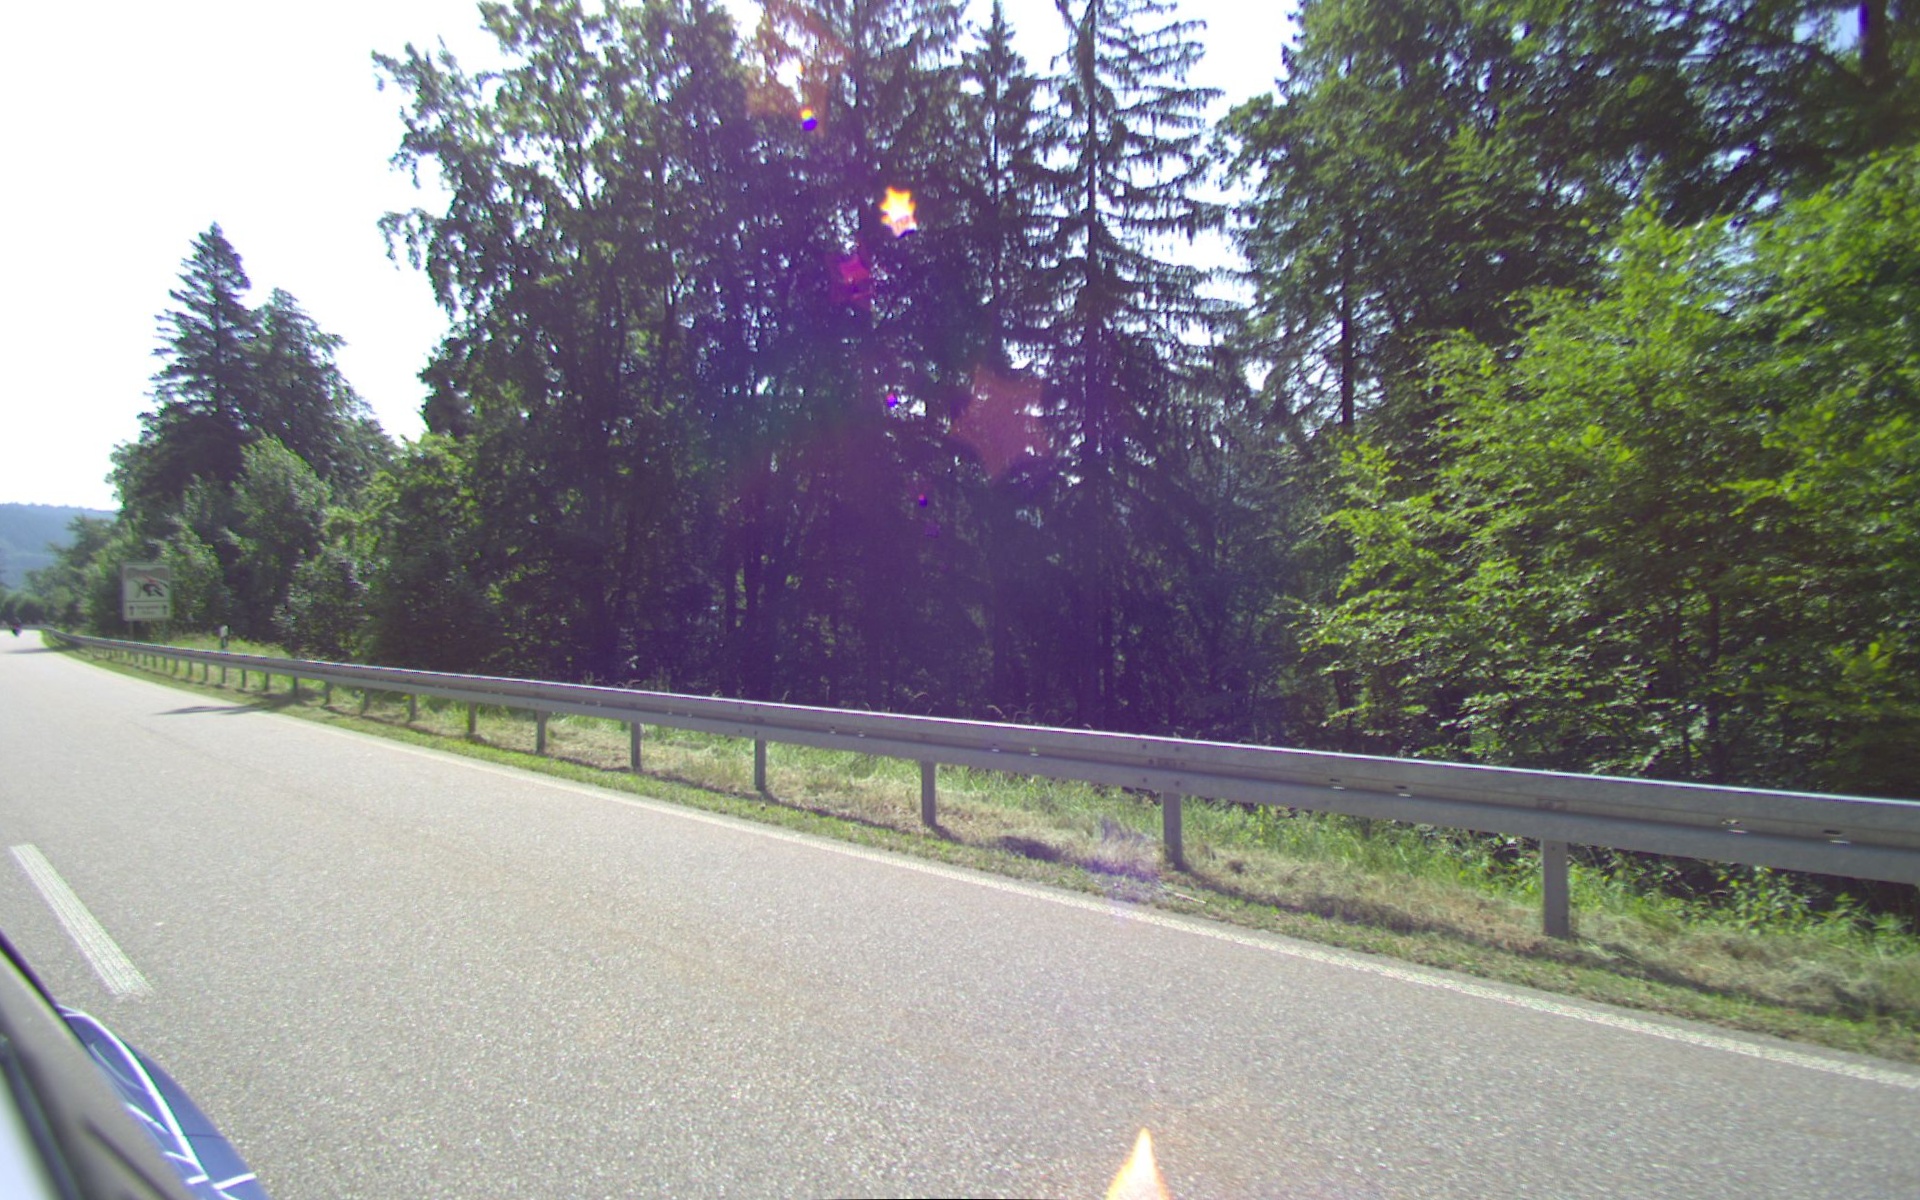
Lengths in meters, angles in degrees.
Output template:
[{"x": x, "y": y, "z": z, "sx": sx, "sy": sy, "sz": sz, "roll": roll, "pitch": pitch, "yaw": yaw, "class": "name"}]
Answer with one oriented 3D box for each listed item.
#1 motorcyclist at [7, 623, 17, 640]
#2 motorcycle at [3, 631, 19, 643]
[{"x": -87.552, "y": 2.897, "z": 93.446, "sx": 0.650, "sy": 1.524, "sz": 0.935, "roll": 0, "pitch": -2, "yaw": -41, "class": "motorcyclist"}, {"x": -87.634, "y": 3.430, "z": 93.450, "sx": 0.972, "sy": 1.079, "sz": 1.965, "roll": 0, "pitch": -1, "yaw": -42, "class": "motorcycle"}]
